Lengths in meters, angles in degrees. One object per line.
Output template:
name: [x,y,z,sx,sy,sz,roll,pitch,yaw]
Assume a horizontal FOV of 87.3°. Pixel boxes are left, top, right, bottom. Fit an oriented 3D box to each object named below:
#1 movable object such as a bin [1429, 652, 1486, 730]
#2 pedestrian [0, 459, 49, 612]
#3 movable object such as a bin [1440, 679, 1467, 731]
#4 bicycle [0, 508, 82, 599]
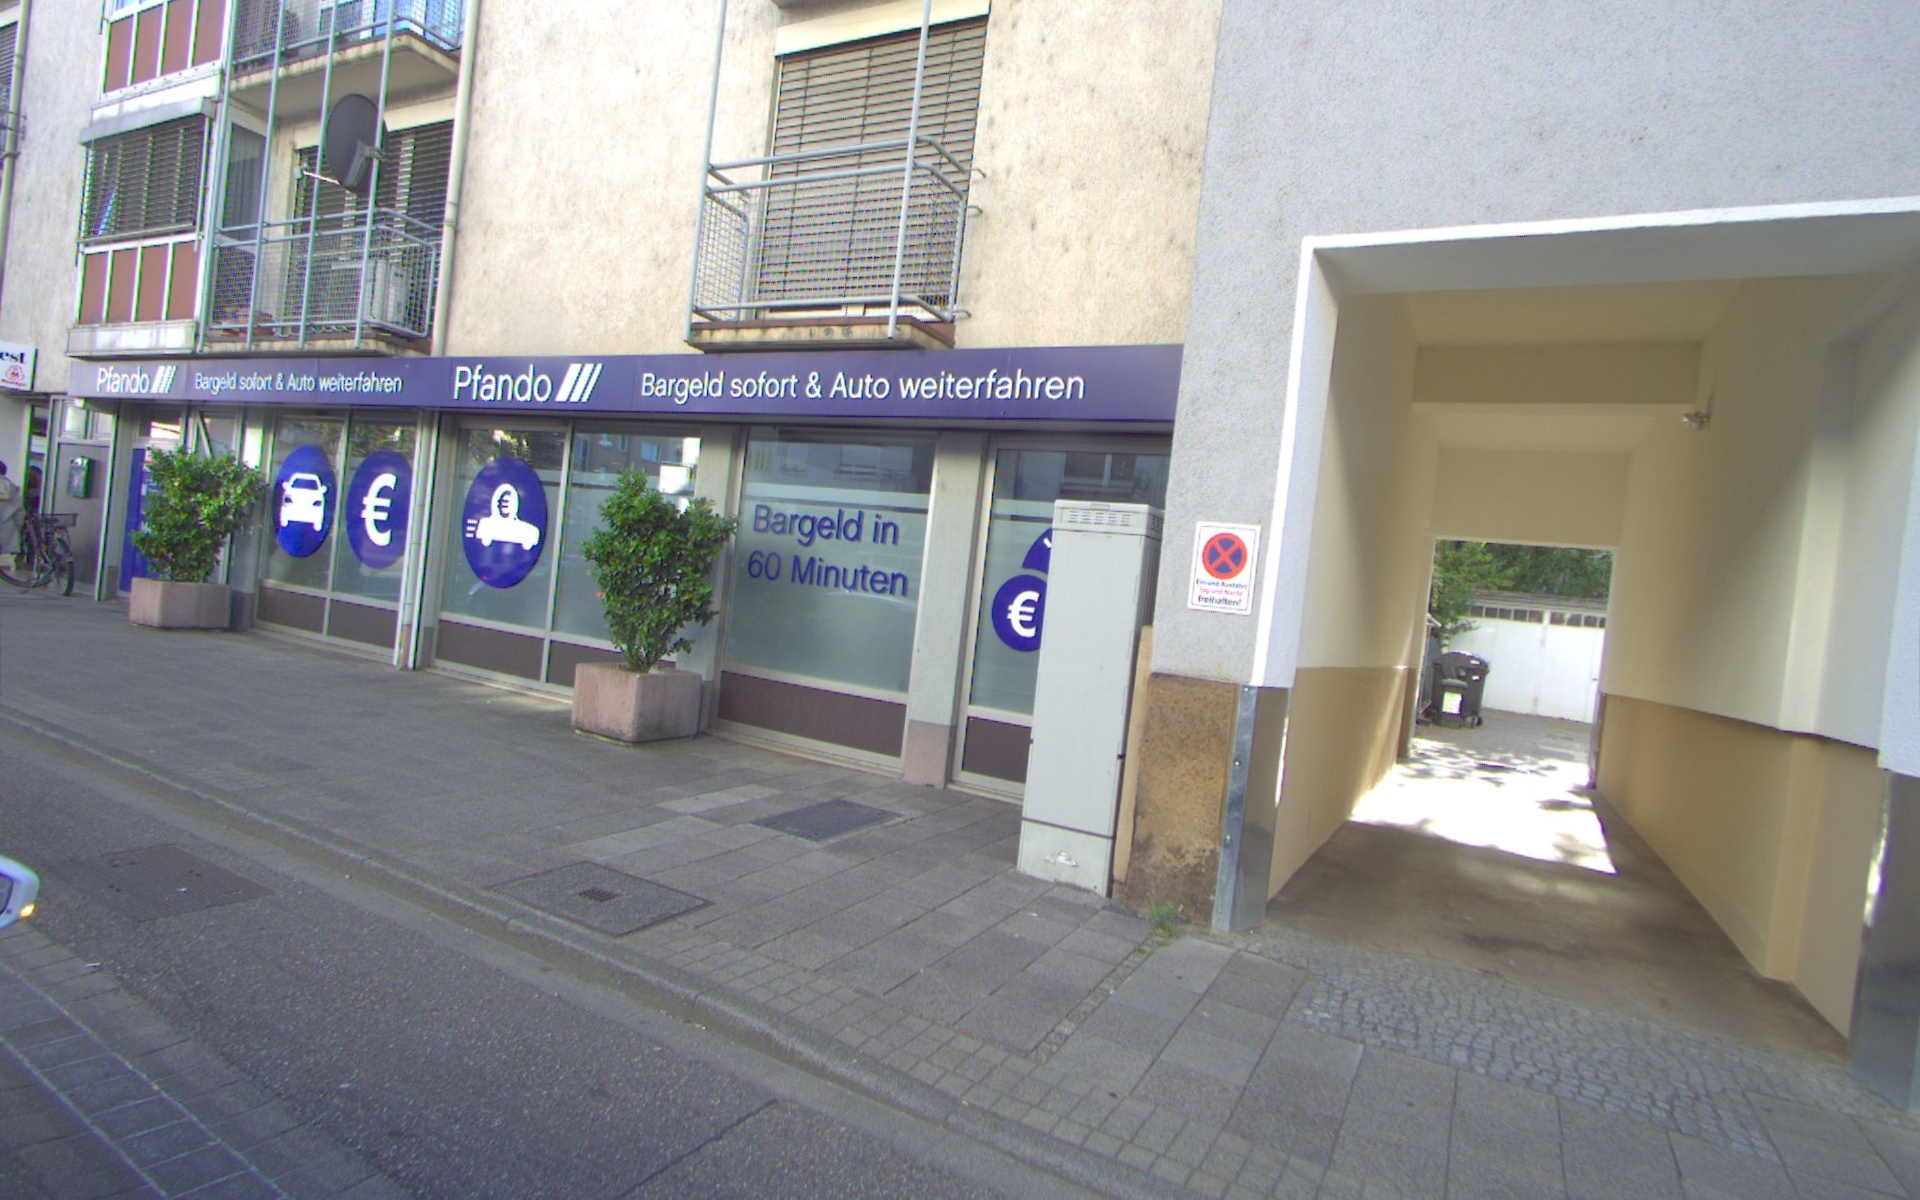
movable object such as a bin: [9.968,1.802,20.154,0.873,1.411,0.758,7,2,28]
pedestrian: [-10.638,-0.738,10.888,0.738,1.611,0.827,6,-1,31]
movable object such as a bin: [9.539,2.022,19.450,0.365,0.920,0.420,7,2,28]
bicycle: [-11.946,-0.617,12.851,1.678,1.010,0.543,6,-1,32]
